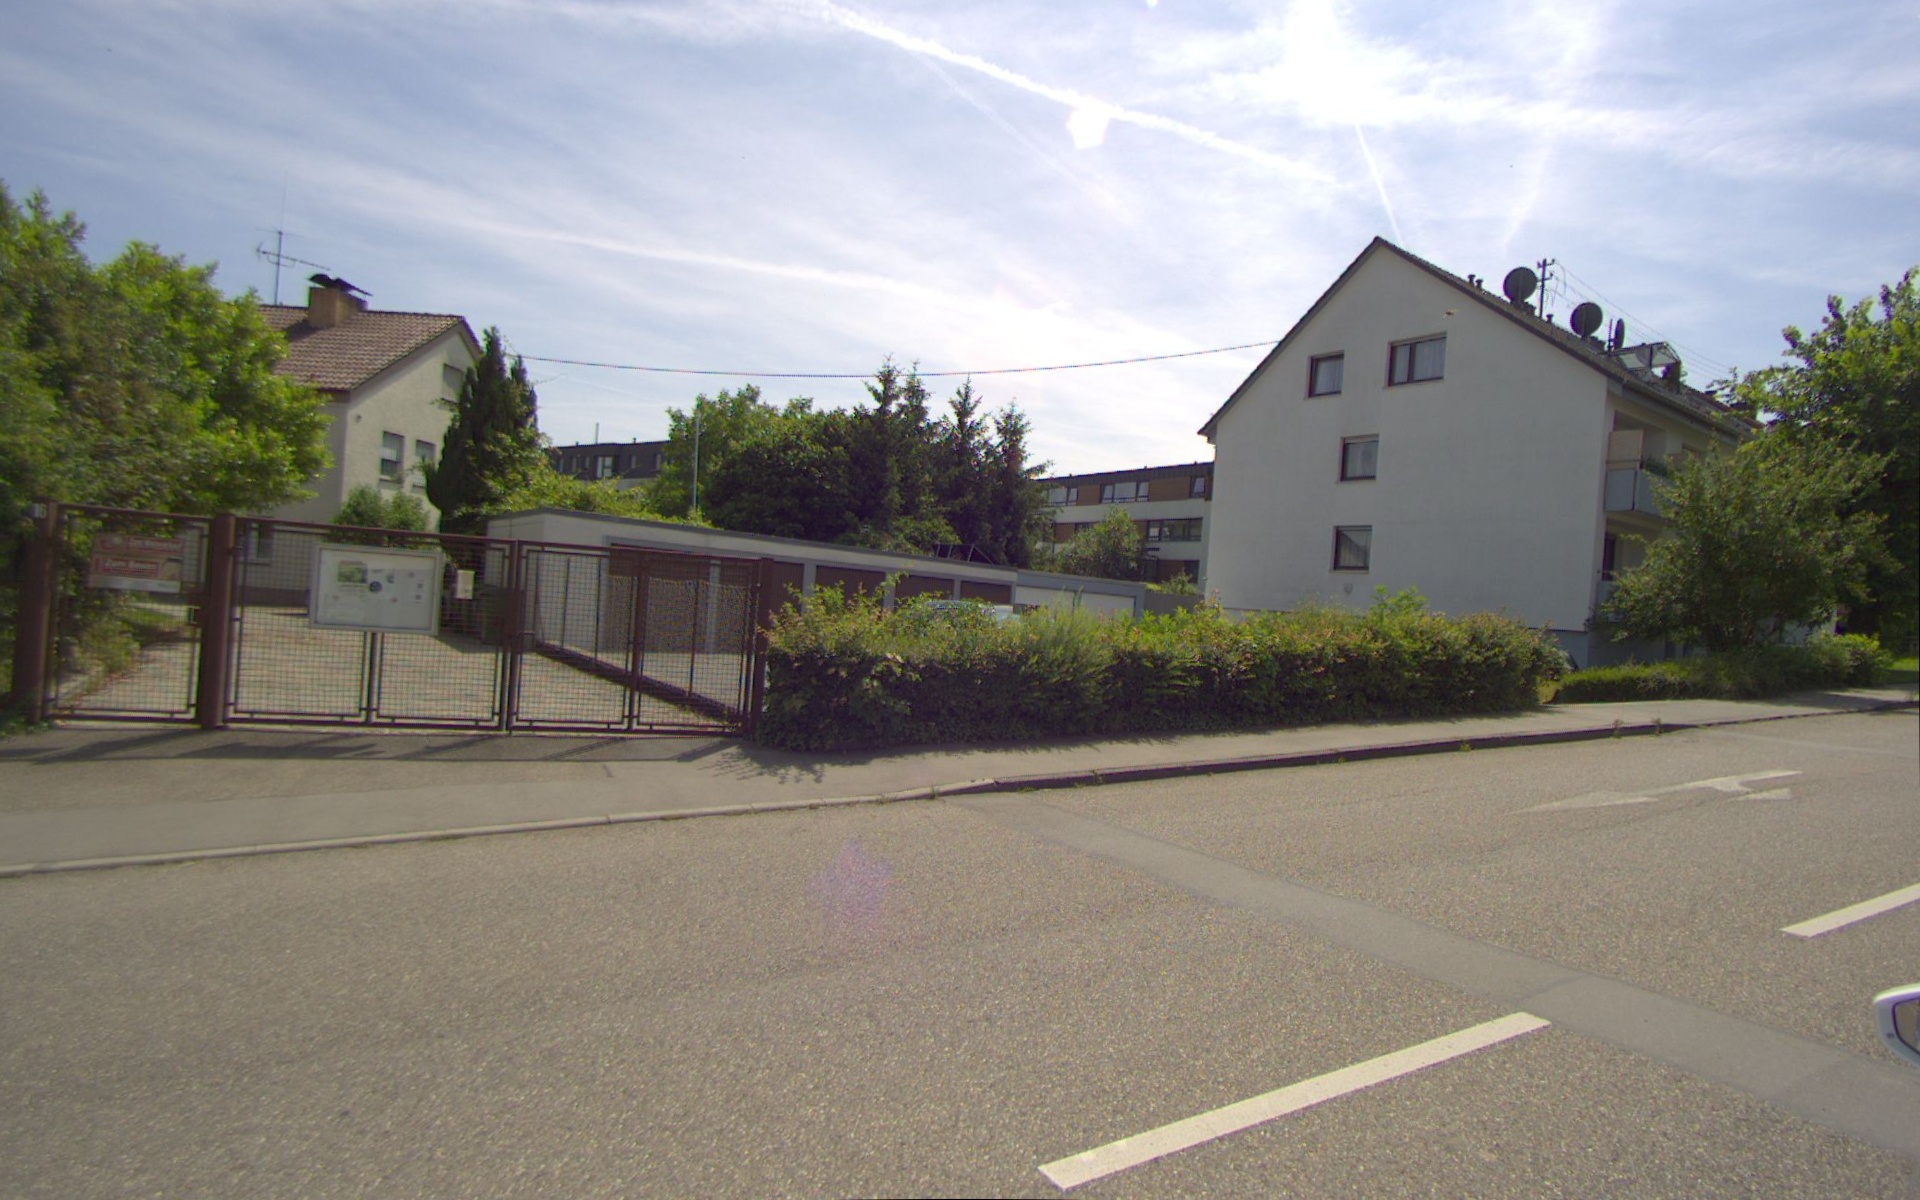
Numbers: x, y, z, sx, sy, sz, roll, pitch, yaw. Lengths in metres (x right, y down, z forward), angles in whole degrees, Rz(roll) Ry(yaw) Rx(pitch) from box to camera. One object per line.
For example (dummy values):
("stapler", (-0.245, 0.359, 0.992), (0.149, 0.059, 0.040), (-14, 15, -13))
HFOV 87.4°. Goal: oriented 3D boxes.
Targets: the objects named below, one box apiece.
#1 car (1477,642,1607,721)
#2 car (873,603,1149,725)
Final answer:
("car", (12.955, 1.801, 22.314), (3.208, 1.560, 1.459), (4, -2, -40))
("car", (0.596, 0.818, 14.554), (1.980, 1.405, 3.960), (2, 0, -35))
